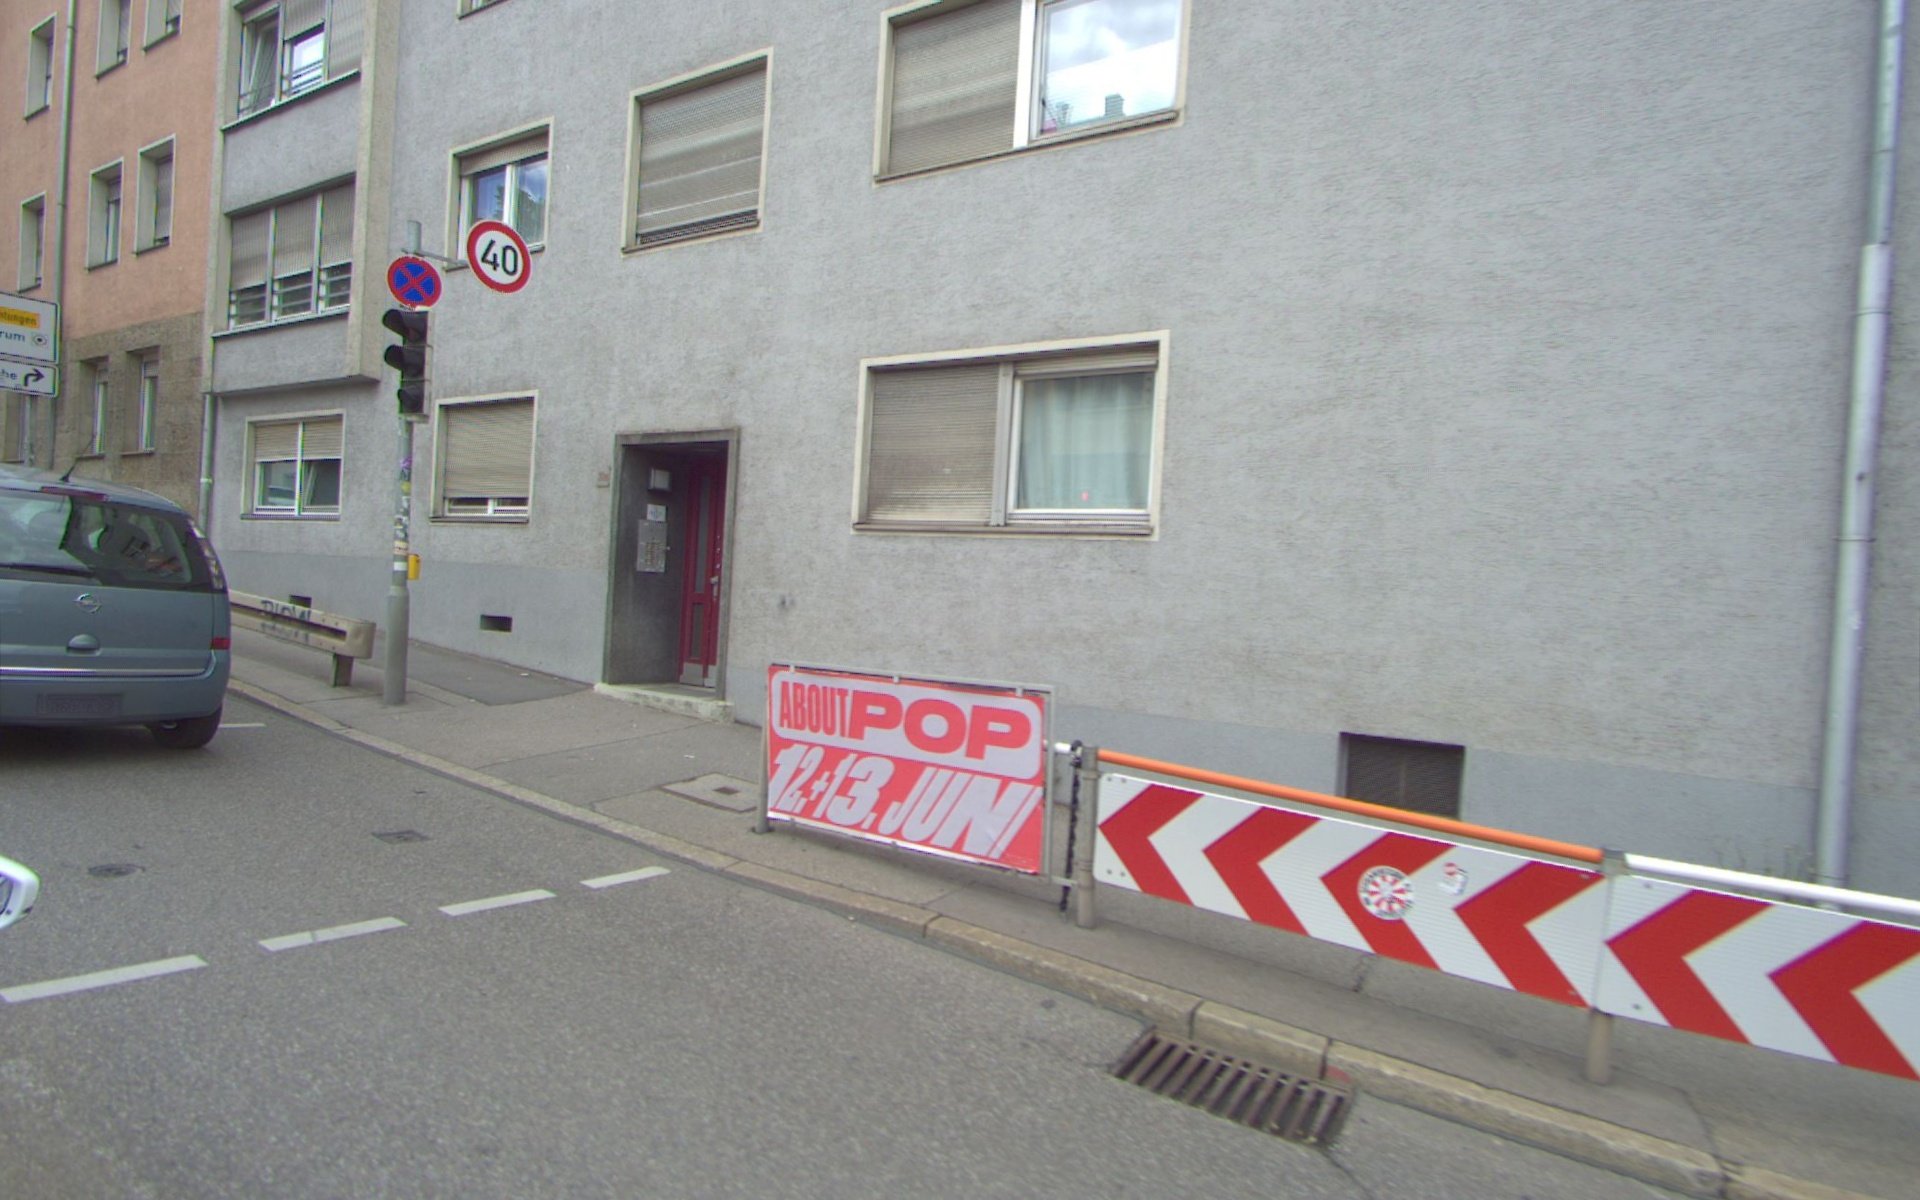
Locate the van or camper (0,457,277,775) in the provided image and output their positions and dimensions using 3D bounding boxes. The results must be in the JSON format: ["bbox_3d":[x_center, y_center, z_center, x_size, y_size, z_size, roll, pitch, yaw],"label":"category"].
[{"bbox_3d":[-6.162,-0.081,6.247,3.585,1.597,1.738,7,0,31],"label":"van or camper"}]
